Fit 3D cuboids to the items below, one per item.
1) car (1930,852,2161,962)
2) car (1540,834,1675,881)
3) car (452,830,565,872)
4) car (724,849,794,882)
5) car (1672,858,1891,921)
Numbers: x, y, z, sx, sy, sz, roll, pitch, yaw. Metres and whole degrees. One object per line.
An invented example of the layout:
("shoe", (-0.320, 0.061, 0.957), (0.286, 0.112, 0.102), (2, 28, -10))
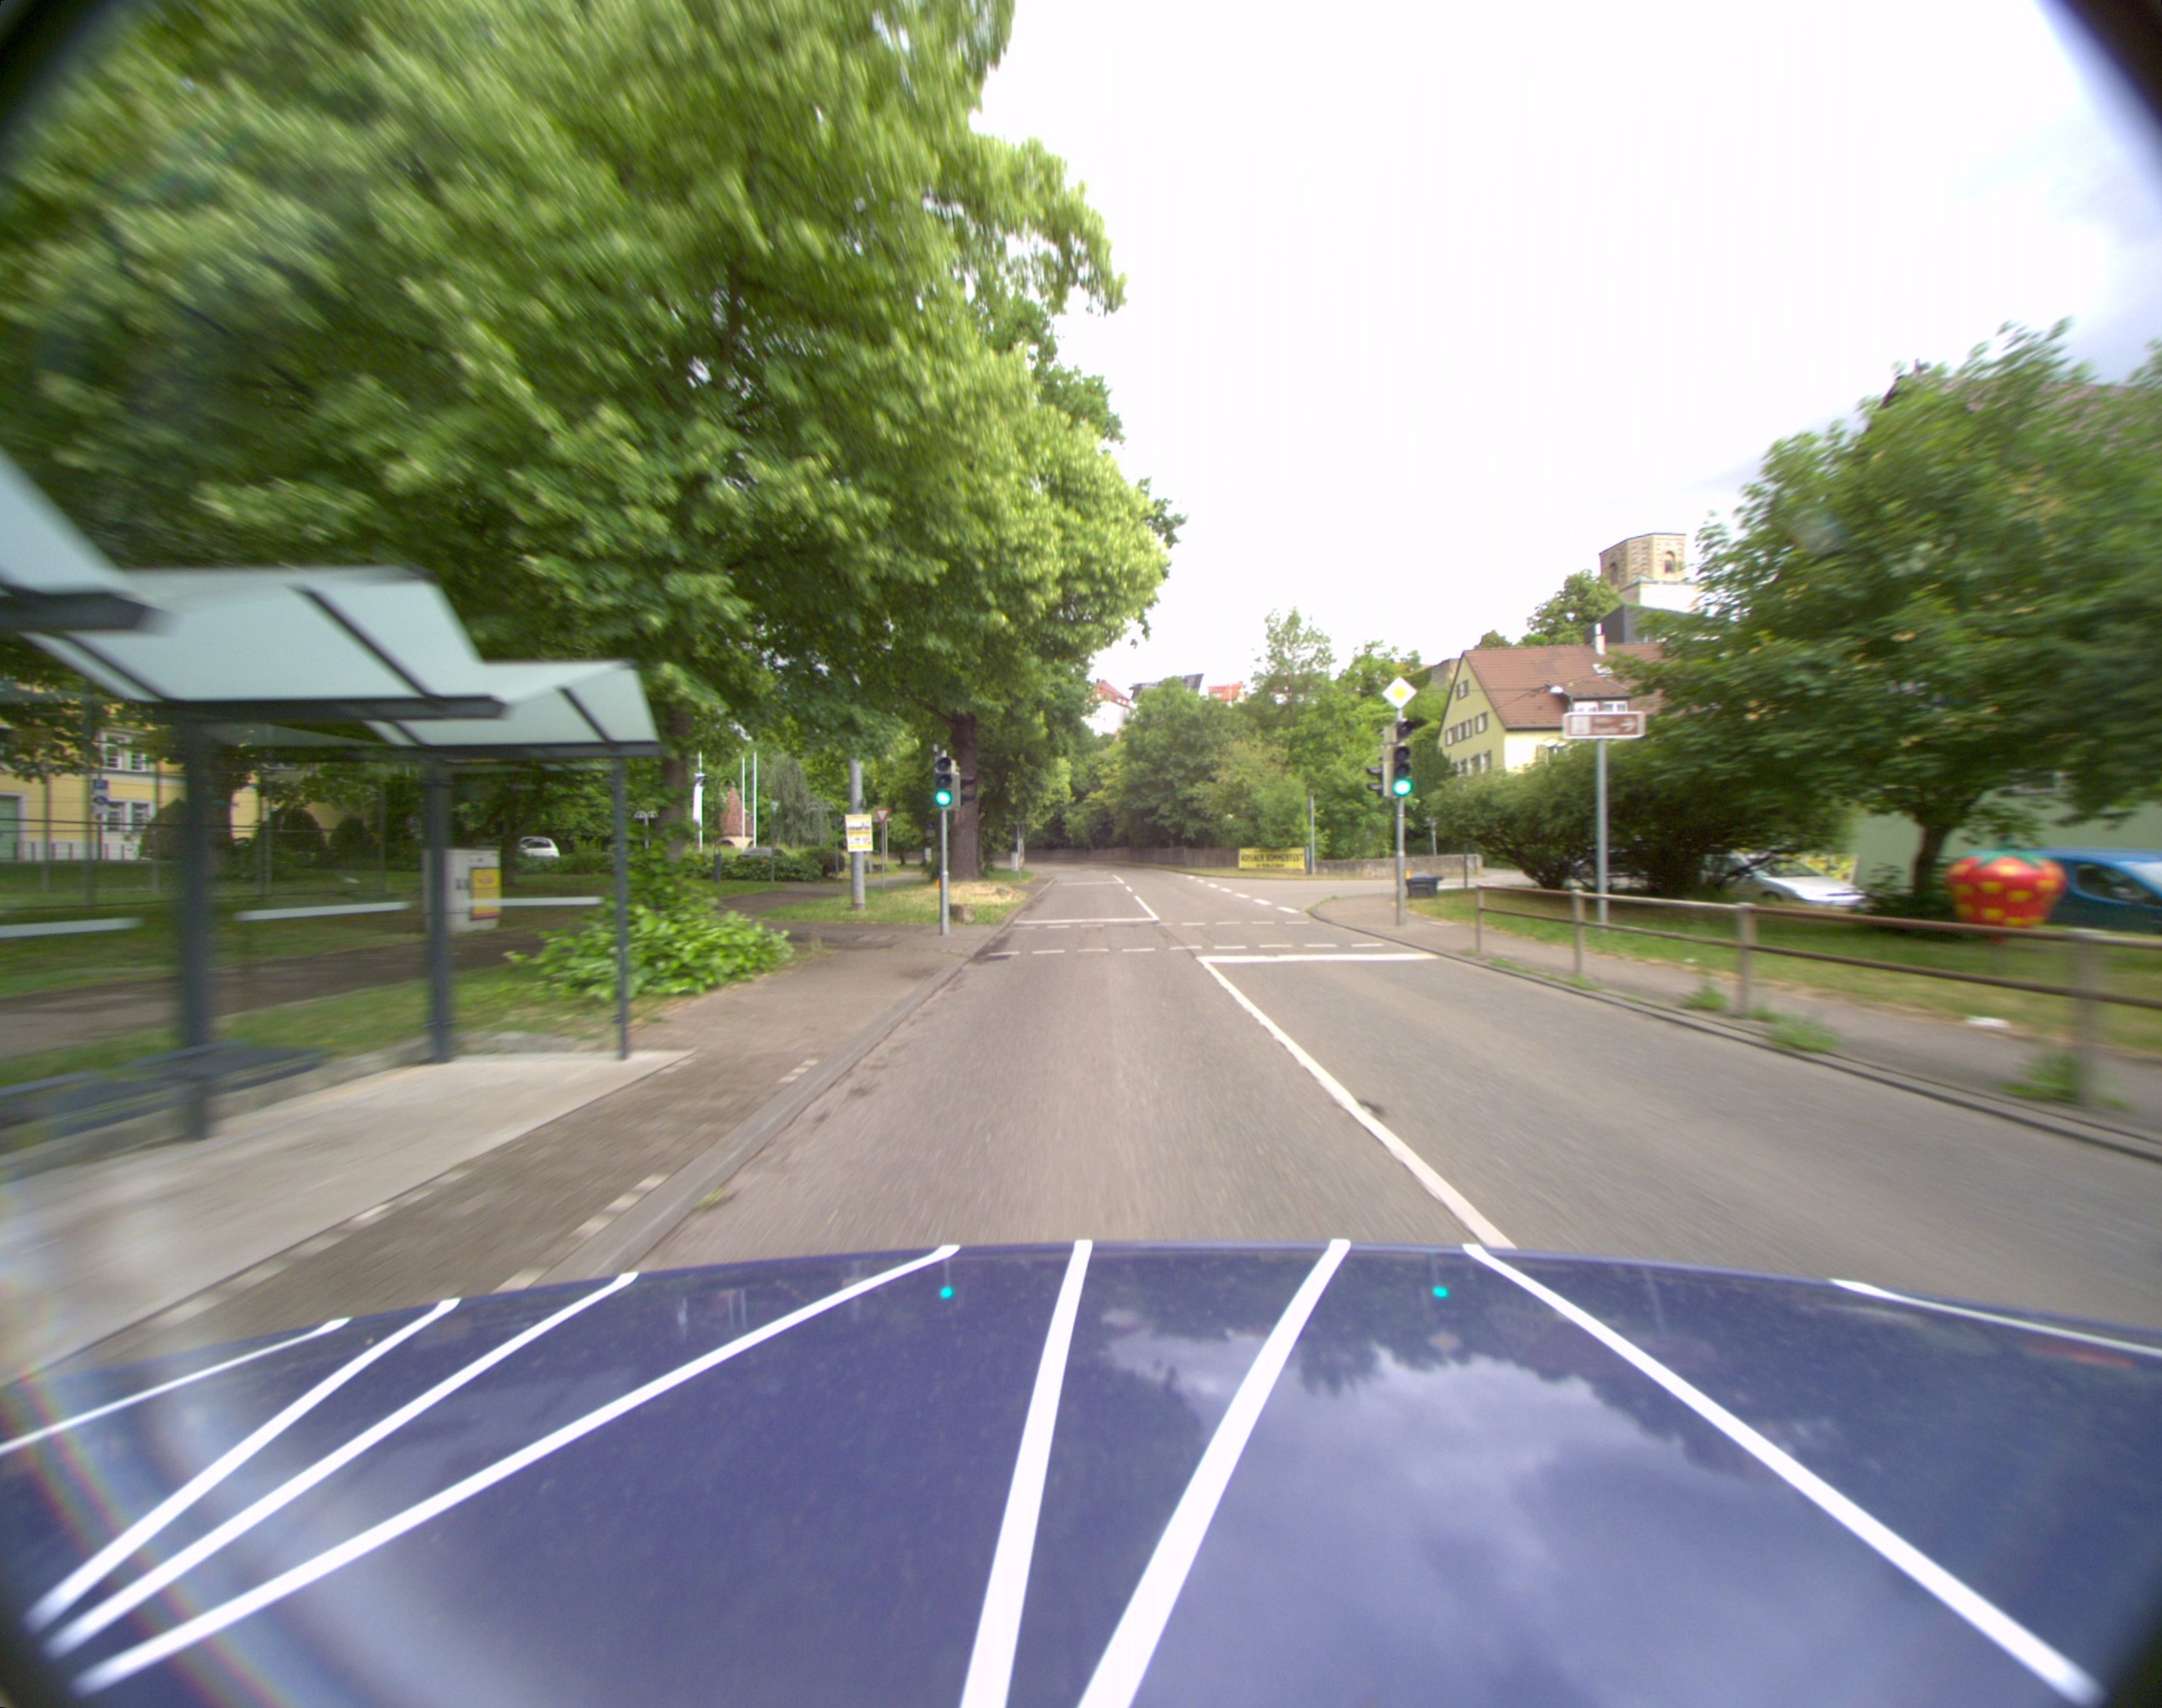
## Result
("car", (17.075, 0.809, 12.194), (1.998, 1.608, 4.448), (1, 1, 3))
("car", (21.139, 0.123, 30.645), (3.997, 1.587, 1.946), (-4, 0, 1))
("car", (-25.897, -0.072, 34.569), (1.999, 1.640, 4.001), (3, -2, 0))
("car", (-15.057, 0.562, 35.804), (1.913, 1.422, 4.464), (1, -2, -8))
("car", (17.284, 0.803, 19.068), (1.649, 1.337, 4.152), (1, 0, 0))
